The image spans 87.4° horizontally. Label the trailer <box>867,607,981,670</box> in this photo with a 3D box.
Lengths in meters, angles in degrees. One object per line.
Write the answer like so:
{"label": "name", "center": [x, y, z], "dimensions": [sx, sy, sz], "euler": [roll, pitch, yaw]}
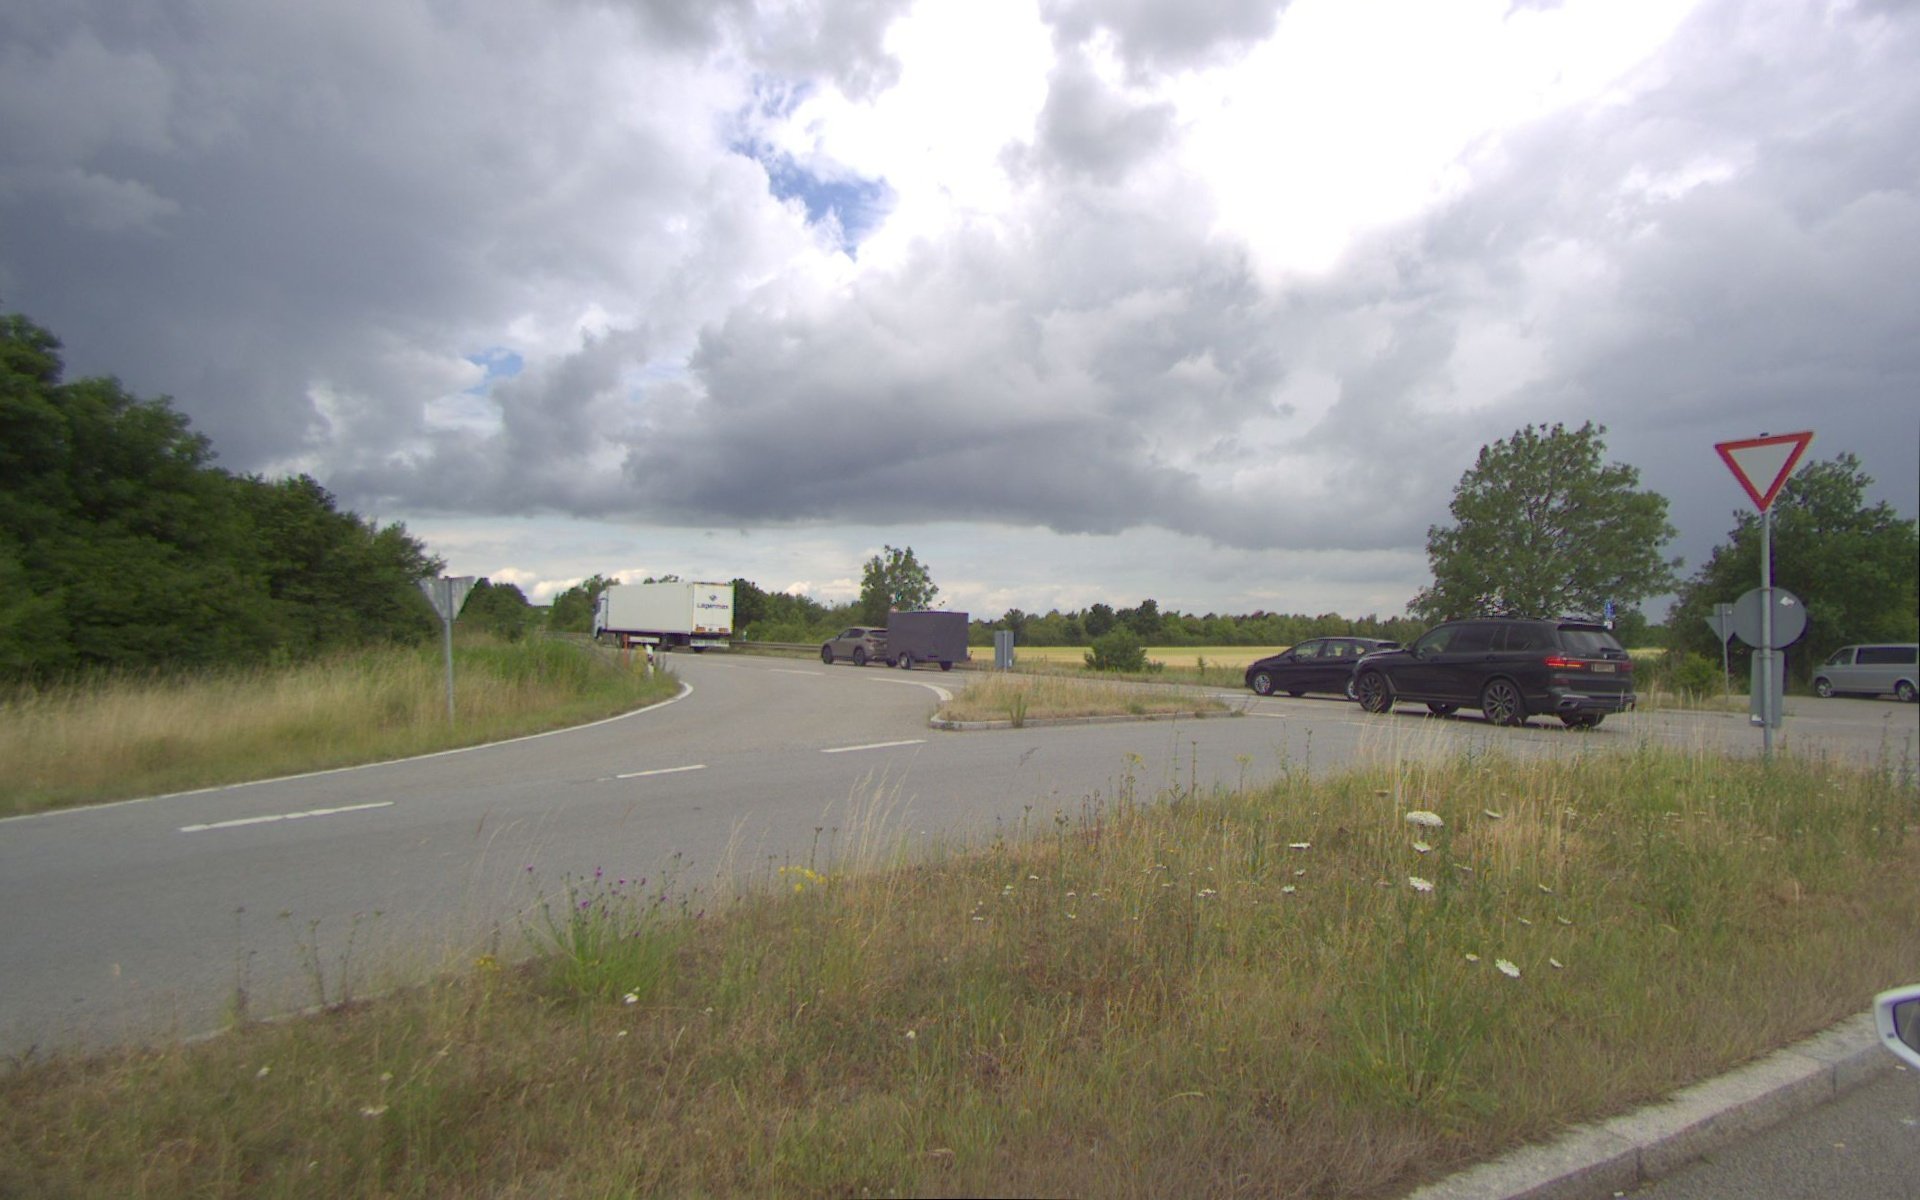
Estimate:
{"label": "trailer", "center": [-1.481, 1.549, 40.098], "dimensions": [2.398, 2.322, 4.346], "euler": [3, -4, -40]}

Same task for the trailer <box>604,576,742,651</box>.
{"label": "trailer", "center": [-17.918, 0.899, 61.589], "dimensions": [3.102, 4.066, 13.735], "euler": [3, -3, -38]}

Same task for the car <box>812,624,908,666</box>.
{"label": "car", "center": [-4.368, 1.948, 43.428], "dimensions": [1.985, 1.704, 4.426], "euler": [3, -4, -40]}

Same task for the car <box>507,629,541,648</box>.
{"label": "car", "center": [-39.338, 3.494, 90.504], "dimensions": [1.981, 1.622, 4.182], "euler": [1, -3, -36]}

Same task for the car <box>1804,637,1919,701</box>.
{"label": "car", "center": [32.697, 2.353, 35.120], "dimensions": [2.295, 2.040, 4.916], "euler": [-1, -2, 1]}

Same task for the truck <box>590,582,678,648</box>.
{"label": "truck", "center": [-21.637, 1.029, 66.399], "dimensions": [3.102, 4.066, 7.227], "euler": [3, -3, -38]}

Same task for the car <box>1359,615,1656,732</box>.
{"label": "car", "center": [9.479, 1.217, 17.894], "dimensions": [1.968, 1.798, 4.628], "euler": [2, -2, -16]}

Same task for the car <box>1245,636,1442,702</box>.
{"label": "car", "center": [9.560, 1.690, 25.342], "dimensions": [1.983, 1.506, 4.254], "euler": [2, -3, -39]}
